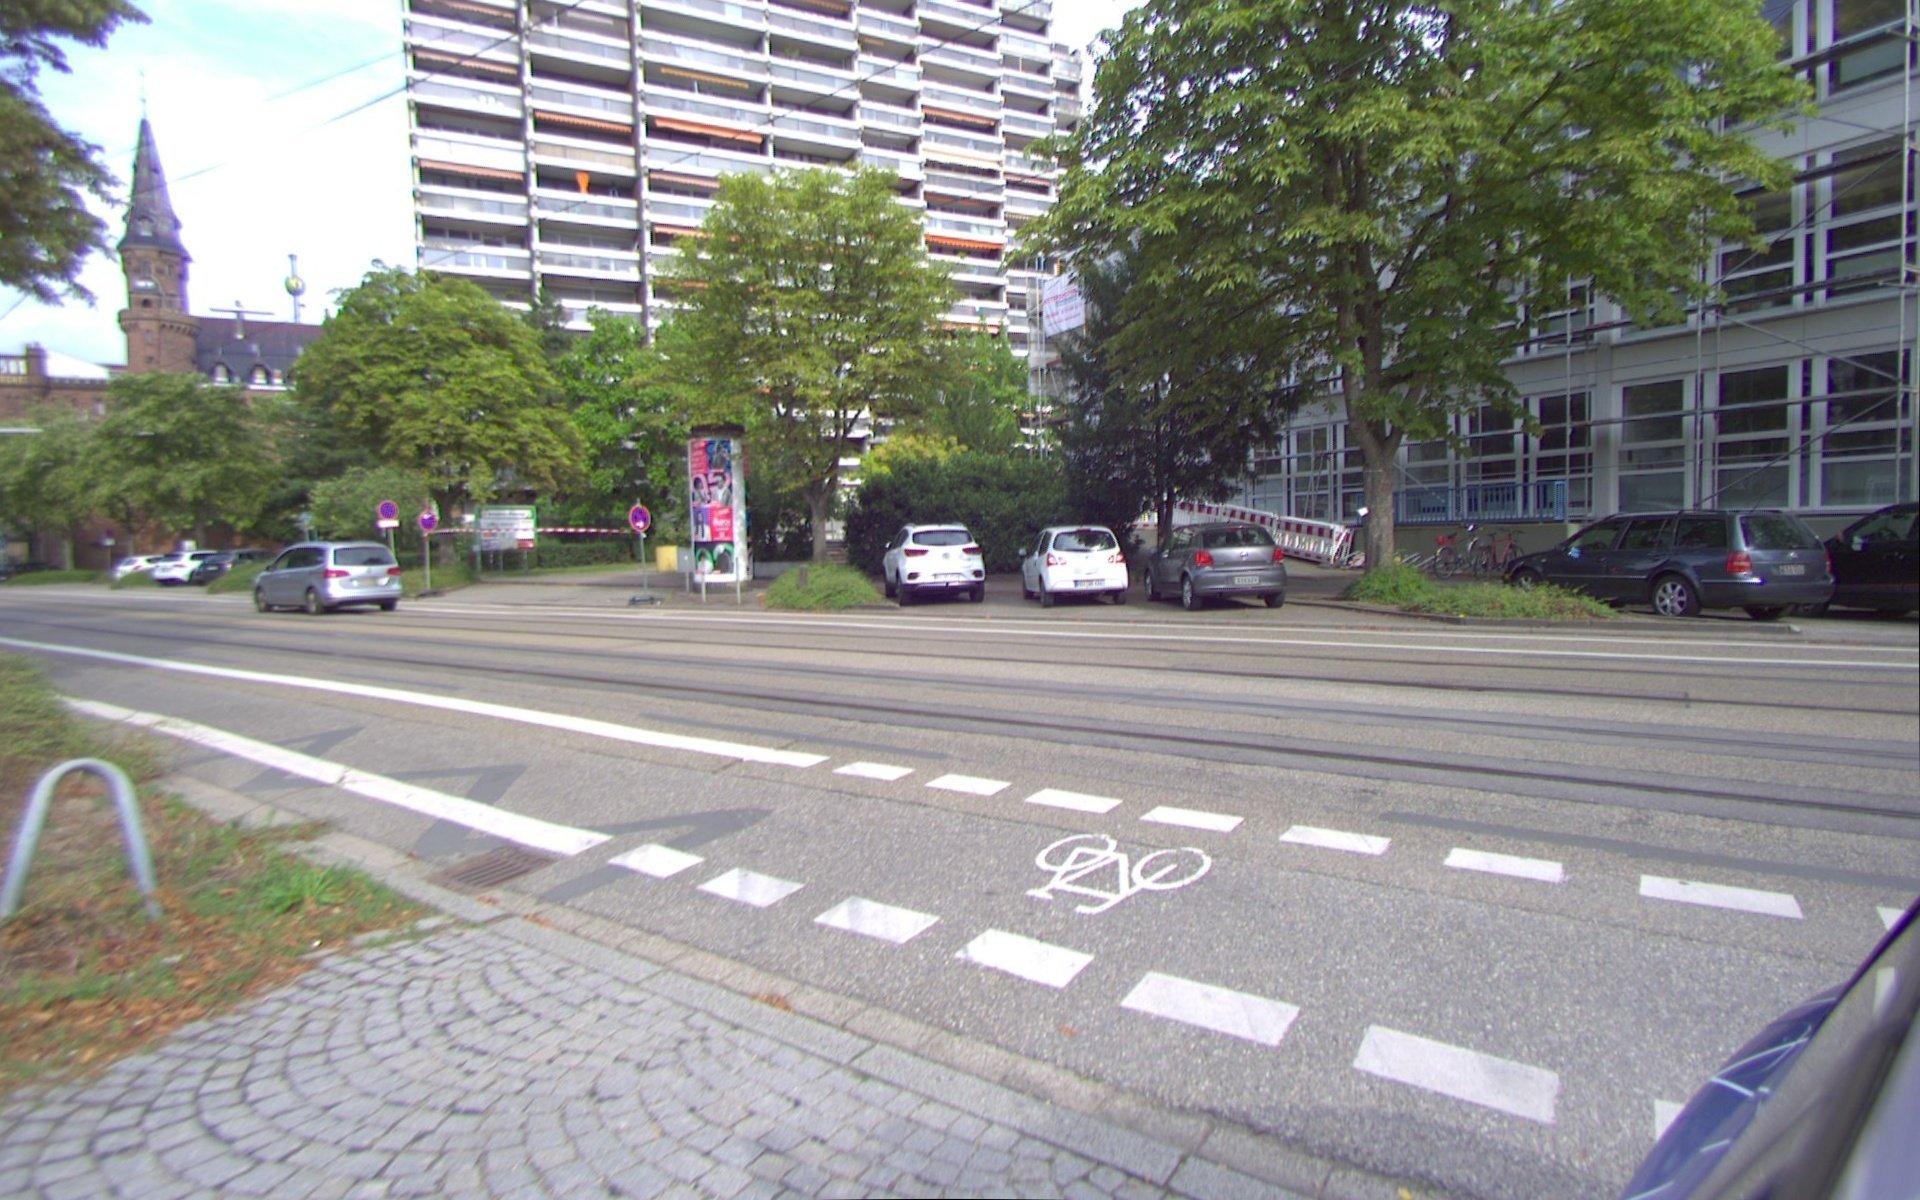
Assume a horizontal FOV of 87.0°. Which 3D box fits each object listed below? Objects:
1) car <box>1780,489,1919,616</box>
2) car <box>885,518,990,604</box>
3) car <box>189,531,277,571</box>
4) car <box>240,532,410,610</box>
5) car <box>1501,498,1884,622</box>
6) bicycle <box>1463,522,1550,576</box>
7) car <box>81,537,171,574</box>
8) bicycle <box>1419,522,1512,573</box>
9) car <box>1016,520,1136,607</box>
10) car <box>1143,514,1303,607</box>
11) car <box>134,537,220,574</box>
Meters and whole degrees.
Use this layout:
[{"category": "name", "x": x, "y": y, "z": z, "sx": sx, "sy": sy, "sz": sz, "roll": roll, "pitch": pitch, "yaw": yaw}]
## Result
[{"category": "car", "x": 12.539, "y": -0.619, "z": 12.614, "sx": 1.563, "sy": 1.555, "sz": 3.425, "roll": -2, "pitch": 4, "yaw": -8}, {"category": "car", "x": -0.564, "y": -0.889, "z": 21.588, "sx": 1.648, "sy": 1.621, "sz": 3.655, "roll": -3, "pitch": 4, "yaw": -10}, {"category": "car", "x": -31.961, "y": -2.205, "z": 44.589, "sx": 1.648, "sy": 1.621, "sz": 3.655, "roll": -3, "pitch": 4, "yaw": -10}, {"category": "car", "x": -15.617, "y": -0.758, "z": 24.806, "sx": 4.586, "sy": 1.721, "sz": 1.797, "roll": 2, "pitch": 5, "yaw": 34}, {"category": "car", "x": 9.946, "y": -0.627, "z": 14.228, "sx": 1.778, "sy": 1.432, "sz": 4.181, "roll": -3, "pitch": 4, "yaw": -14}, {"category": "bicycle", "x": 11.510, "y": -1.095, "z": 21.308, "sx": 1.938, "sy": 1.056, "sz": 0.596, "roll": -4, "pitch": 4, "yaw": -27}, {"category": "car", "x": -39.892, "y": -2.163, "z": 48.520, "sx": 1.648, "sy": 1.621, "sz": 3.655, "roll": -3, "pitch": 4, "yaw": -10}, {"category": "bicycle", "x": 11.018, "y": -1.158, "z": 22.067, "sx": 1.936, "sy": 1.056, "sz": 0.596, "roll": -3, "pitch": 4, "yaw": -17}, {"category": "car", "x": 2.180, "y": -0.790, "z": 19.893, "sx": 1.649, "sy": 1.492, "sz": 3.652, "roll": -2, "pitch": 4, "yaw": -4}, {"category": "car", "x": 4.546, "y": -0.767, "z": 18.025, "sx": 1.649, "sy": 1.436, "sz": 3.652, "roll": -2, "pitch": 4, "yaw": -4}, {"category": "car", "x": -37.371, "y": -2.152, "z": 48.414, "sx": 1.648, "sy": 1.621, "sz": 3.655, "roll": -3, "pitch": 4, "yaw": -10}]
